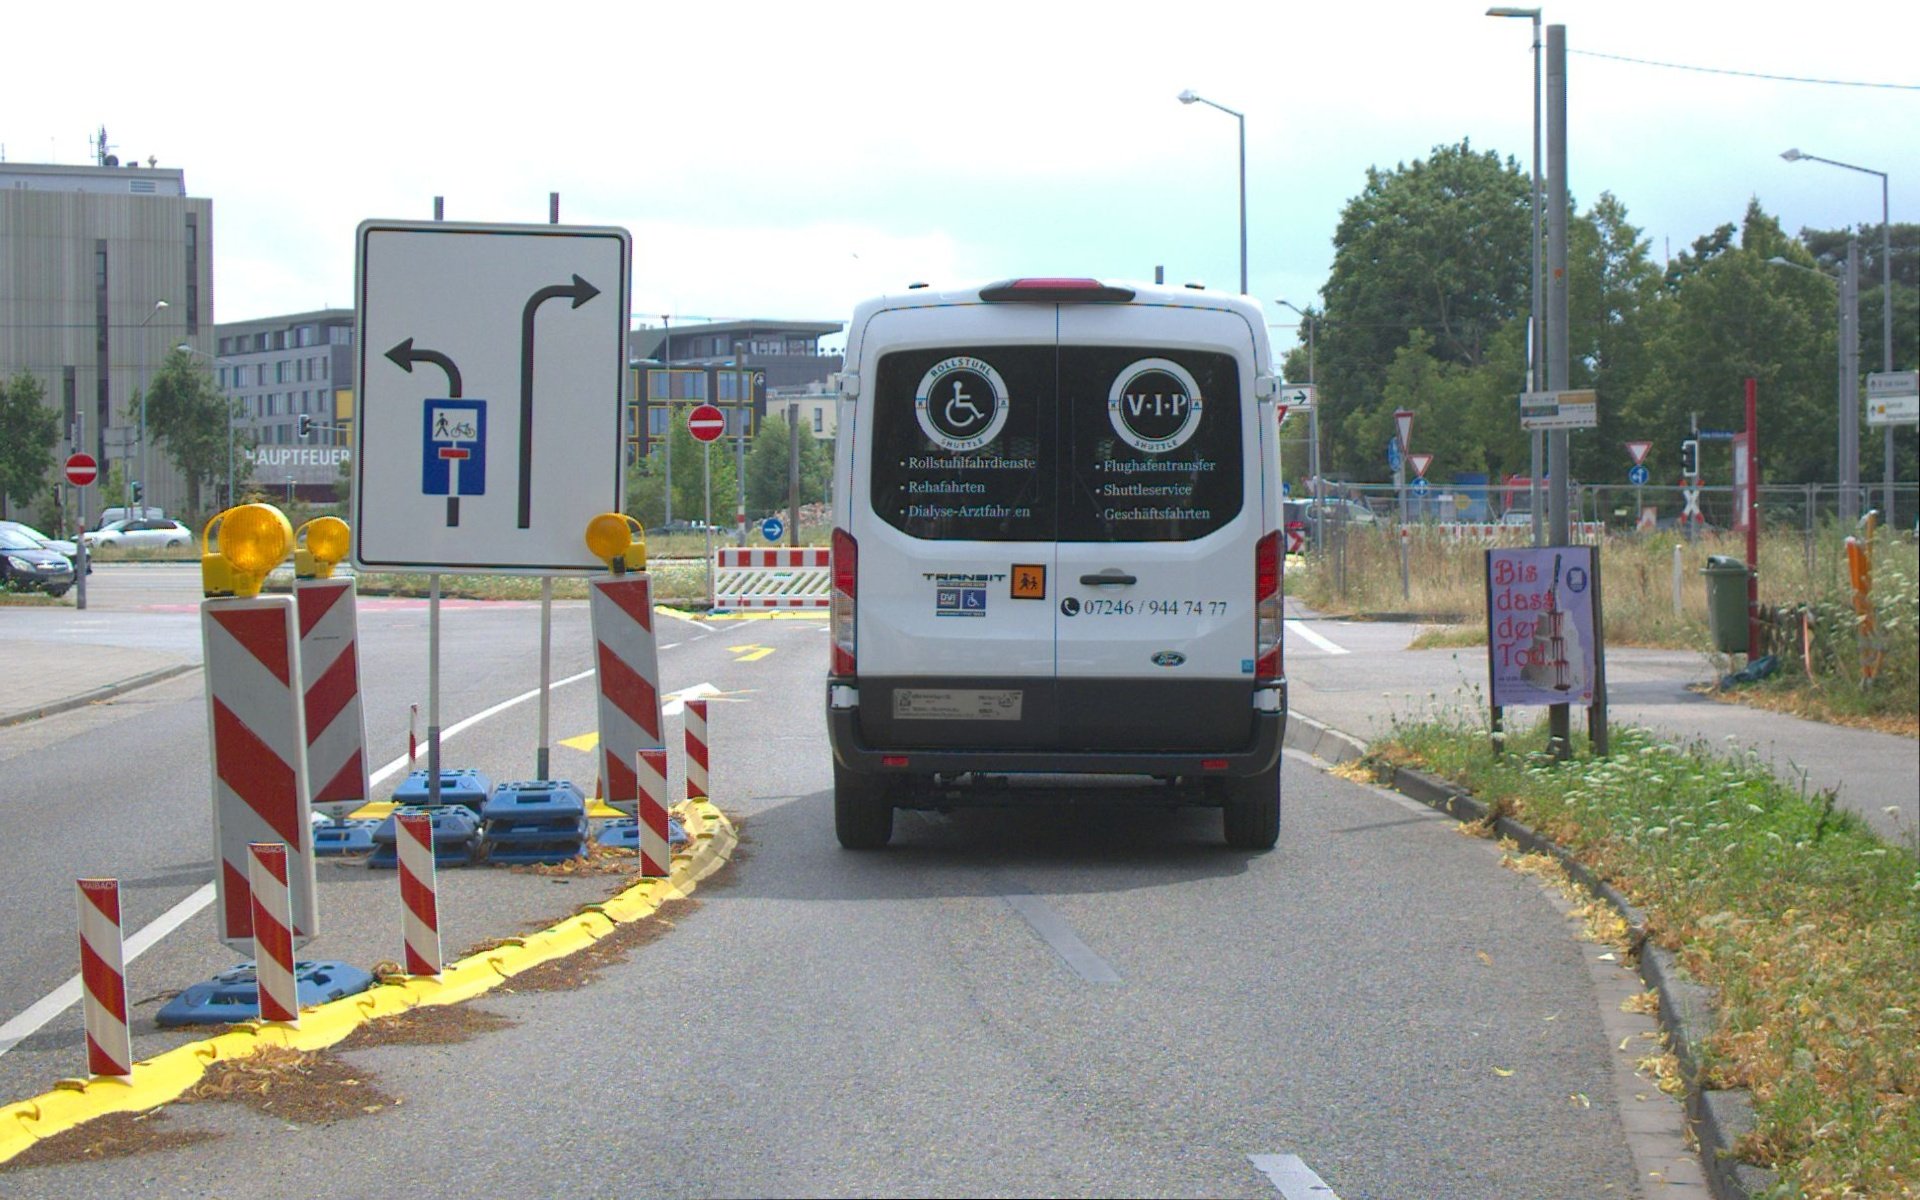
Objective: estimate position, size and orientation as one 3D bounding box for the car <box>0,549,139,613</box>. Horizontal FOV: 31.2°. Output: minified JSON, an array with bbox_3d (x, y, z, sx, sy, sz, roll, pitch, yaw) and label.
[{"bbox_3d":[-20.631,-0.430,78.550,1.618,1.349,4.353,-4,2,-44],"label":"car"}]

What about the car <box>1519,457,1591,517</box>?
[{"bbox_3d":[19.162,-3.640,110.520,2.008,1.810,4.410,-2,2,13],"label":"car"}]

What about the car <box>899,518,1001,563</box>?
[{"bbox_3d":[-0.422,-2.527,146.163,3.987,1.765,1.768,-3,2,-32],"label":"car"}]

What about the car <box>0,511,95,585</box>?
[{"bbox_3d":[-19.930,-1.048,69.780,4.244,1.473,1.777,0,1,9],"label":"car"}]

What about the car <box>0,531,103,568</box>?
[{"bbox_3d":[-32.799,-1.790,122.537,3.988,1.188,1.686,-3,2,-34],"label":"car"}]

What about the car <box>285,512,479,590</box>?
[{"bbox_3d":[-13.377,-1.143,79.657,3.988,1.656,1.890,-2,2,11],"label":"car"}]

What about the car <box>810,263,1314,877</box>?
[{"bbox_3d":[0.500,-0.156,16.325,2.063,2.531,4.000,-1,1,2],"label":"car"}]
